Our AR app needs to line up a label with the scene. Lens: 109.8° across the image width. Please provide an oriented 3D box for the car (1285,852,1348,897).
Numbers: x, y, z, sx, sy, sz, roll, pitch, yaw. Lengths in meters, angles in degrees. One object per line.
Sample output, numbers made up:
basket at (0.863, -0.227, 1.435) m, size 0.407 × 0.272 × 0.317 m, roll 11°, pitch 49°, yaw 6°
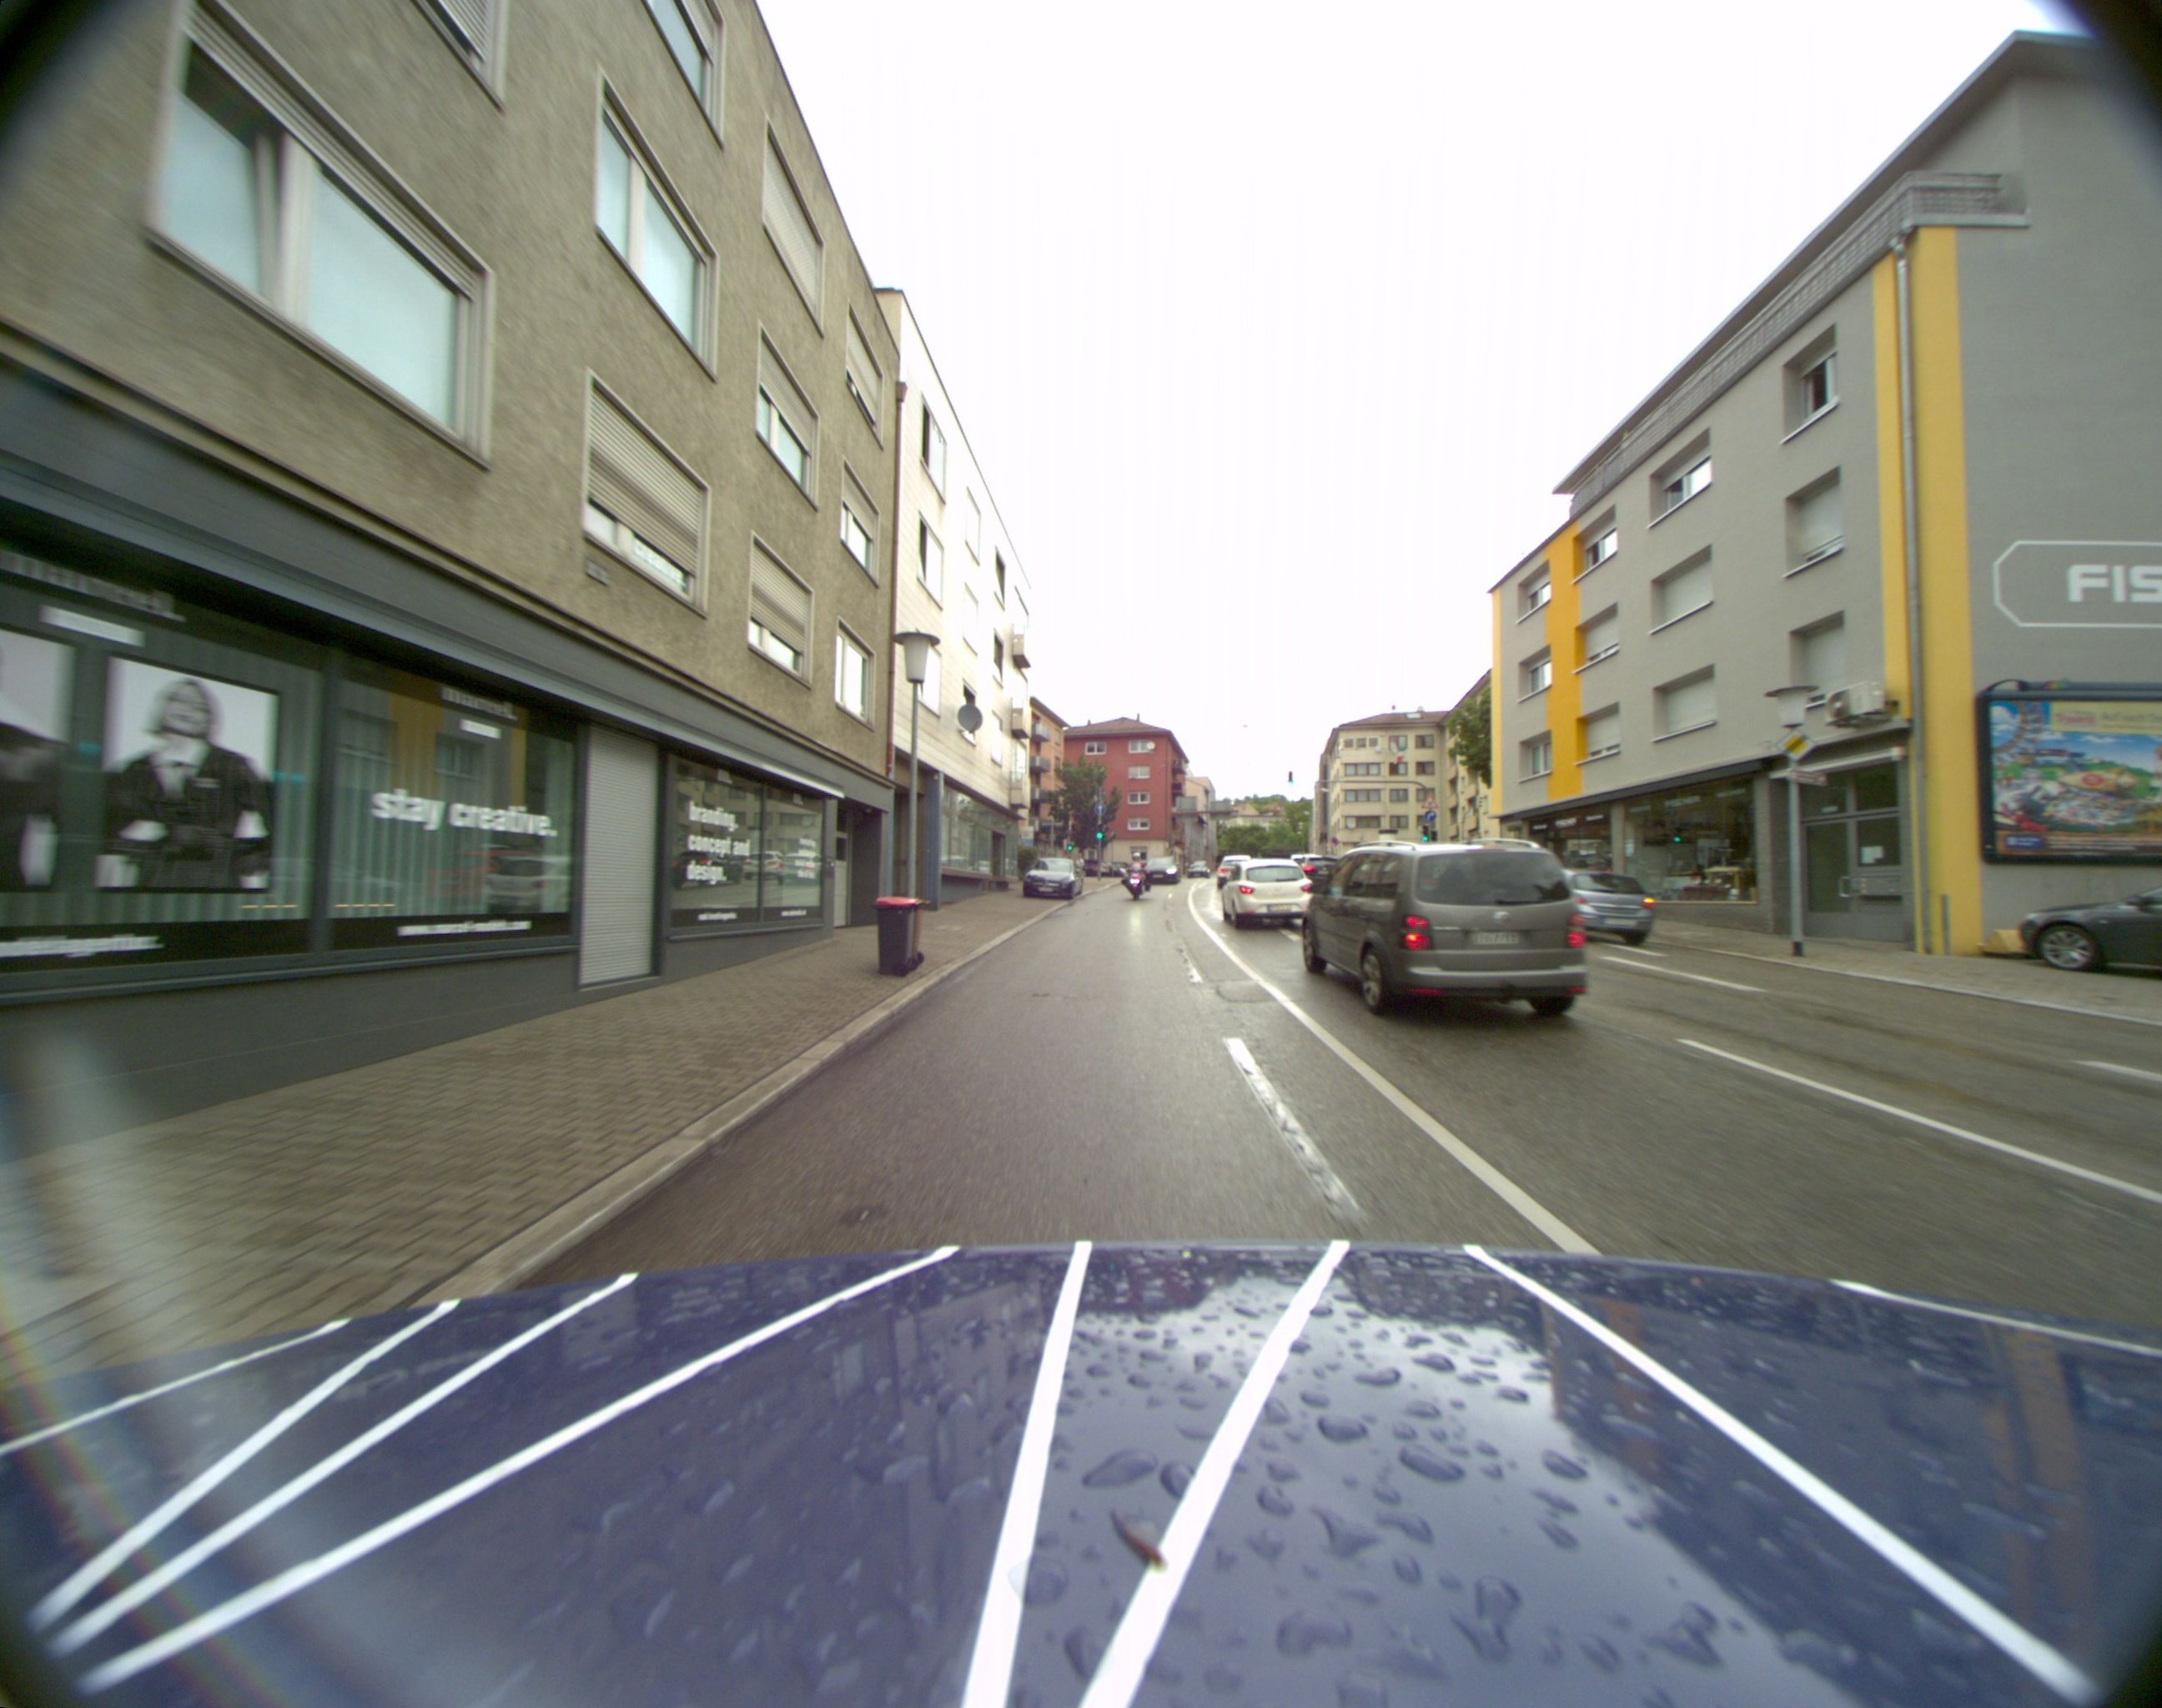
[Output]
car at (9.690, 0.793, 31.538) m, size 1.810 × 1.622 × 4.345 m, roll 3°, pitch 1°, yaw 9°

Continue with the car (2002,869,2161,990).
car at (14.617, 0.985, 9.008) m, size 1.695 × 1.446 × 4.664 m, roll -2°, pitch 0°, yaw 0°

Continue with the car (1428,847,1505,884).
car at (22.758, 0.687, 44.872) m, size 4.067 × 1.819 × 1.728 m, roll 4°, pitch 2°, yaw -25°

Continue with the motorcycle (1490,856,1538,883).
motorcycle at (21.467, 0.756, 37.664) m, size 1.990 × 1.321 × 0.540 m, roll -1°, pitch -1°, yaw 5°

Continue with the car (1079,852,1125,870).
car at (2.019, 0.692, 73.066) m, size 3.990 × 1.709 × 1.997 m, roll -1°, pitch -1°, yaw 26°

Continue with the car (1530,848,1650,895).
car at (22.190, 0.746, 33.222) m, size 3.998 × 1.783 × 1.861 m, roll -3°, pitch 0°, yaw -2°

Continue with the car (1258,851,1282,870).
car at (16.493, 0.551, 66.343) m, size 1.822 × 1.528 × 4.382 m, roll 0°, pitch 1°, yaw 11°

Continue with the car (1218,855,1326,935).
car at (4.140, 0.816, 17.073) m, size 1.702 × 1.471 × 4.292 m, roll -2°, pitch 1°, yaw 6°

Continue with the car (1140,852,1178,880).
car at (4.280, 0.676, 41.141) m, size 1.873 × 1.433 × 4.004 m, roll -1°, pitch -1°, yaw 8°

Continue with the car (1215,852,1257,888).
car at (7.272, 0.700, 35.659) m, size 1.809 × 1.512 × 4.565 m, roll 0°, pitch 1°, yaw 11°

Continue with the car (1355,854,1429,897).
car at (12.847, 0.840, 31.627) m, size 1.659 × 1.601 × 3.929 m, roll 2°, pitch 1°, yaw 4°

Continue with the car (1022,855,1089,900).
car at (-0.854, 0.810, 28.363) m, size 1.767 × 1.384 × 4.381 m, roll 3°, pitch 1°, yaw 7°

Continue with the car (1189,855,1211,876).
car at (11.013, 1.095, 70.222) m, size 1.792 × 1.716 × 4.006 m, roll -1°, pitch -4°, yaw 11°

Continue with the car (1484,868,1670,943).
car at (10.204, 1.094, 16.017) m, size 1.664 × 1.378 × 3.805 m, roll -1°, pitch -4°, yaw 5°

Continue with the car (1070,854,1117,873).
car at (1.203, 0.888, 70.375) m, size 3.992 × 1.650 × 1.996 m, roll 0°, pitch -2°, yaw 14°

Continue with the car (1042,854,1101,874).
car at (-0.847, 0.894, 67.366) m, size 4.785 × 1.545 × 1.853 m, roll 1°, pitch -1°, yaw 16°

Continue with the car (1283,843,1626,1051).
car at (3.652, 0.740, 8.498) m, size 1.811 × 1.695 × 4.562 m, roll -1°, pitch 1°, yaw 3°

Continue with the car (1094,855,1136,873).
car at (3.625, 1.086, 80.552) m, size 3.990 × 1.694 × 2.005 m, roll -2°, pitch -4°, yaw 26°

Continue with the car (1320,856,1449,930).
car at (7.418, 0.874, 19.003) m, size 1.744 × 1.507 × 4.131 m, roll 2°, pitch 1°, yaw 4°

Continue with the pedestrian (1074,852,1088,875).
pedestrian at (0.030, 0.743, 57.859) m, size 0.760 × 1.636 × 0.709 m, roll 5°, pitch -3°, yaw -21°

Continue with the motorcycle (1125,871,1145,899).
motorcycle at (1.935, 1.098, 27.593) m, size 0.637 × 0.921 × 2.365 m, roll -2°, pitch 0°, yaw 2°

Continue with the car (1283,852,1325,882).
car at (11.879, 0.687, 40.720) m, size 1.809 × 1.533 × 4.384 m, roll 0°, pitch -1°, yaw 11°

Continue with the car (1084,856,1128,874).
car at (2.479, 1.103, 75.524) m, size 3.990 × 1.687 × 1.804 m, roll 0°, pitch -3°, yaw 22°

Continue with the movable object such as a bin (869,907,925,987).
movable object such as a bin at (-2.315, 1.161, 9.595) m, size 0.526 × 0.974 × 0.538 m, roll -1°, pitch -4°, yaw 6°

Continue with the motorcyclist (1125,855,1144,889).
motorcyclist at (1.930, 0.660, 27.469) m, size 0.654 × 1.216 × 0.658 m, roll 0°, pitch 0°, yaw 3°

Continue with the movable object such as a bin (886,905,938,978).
movable object such as a bin at (-2.246, 1.158, 10.146) m, size 0.526 × 0.944 × 0.538 m, roll -1°, pitch -4°, yaw 6°

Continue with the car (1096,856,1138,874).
car at (3.691, 1.138, 78.380) m, size 3.990 × 1.571 × 1.679 m, roll -3°, pitch -5°, yaw 33°

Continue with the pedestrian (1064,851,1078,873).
pedestrian at (-0.753, 0.611, 57.992) m, size 0.708 × 1.636 × 0.761 m, roll 2°, pitch -3°, yaw 22°
